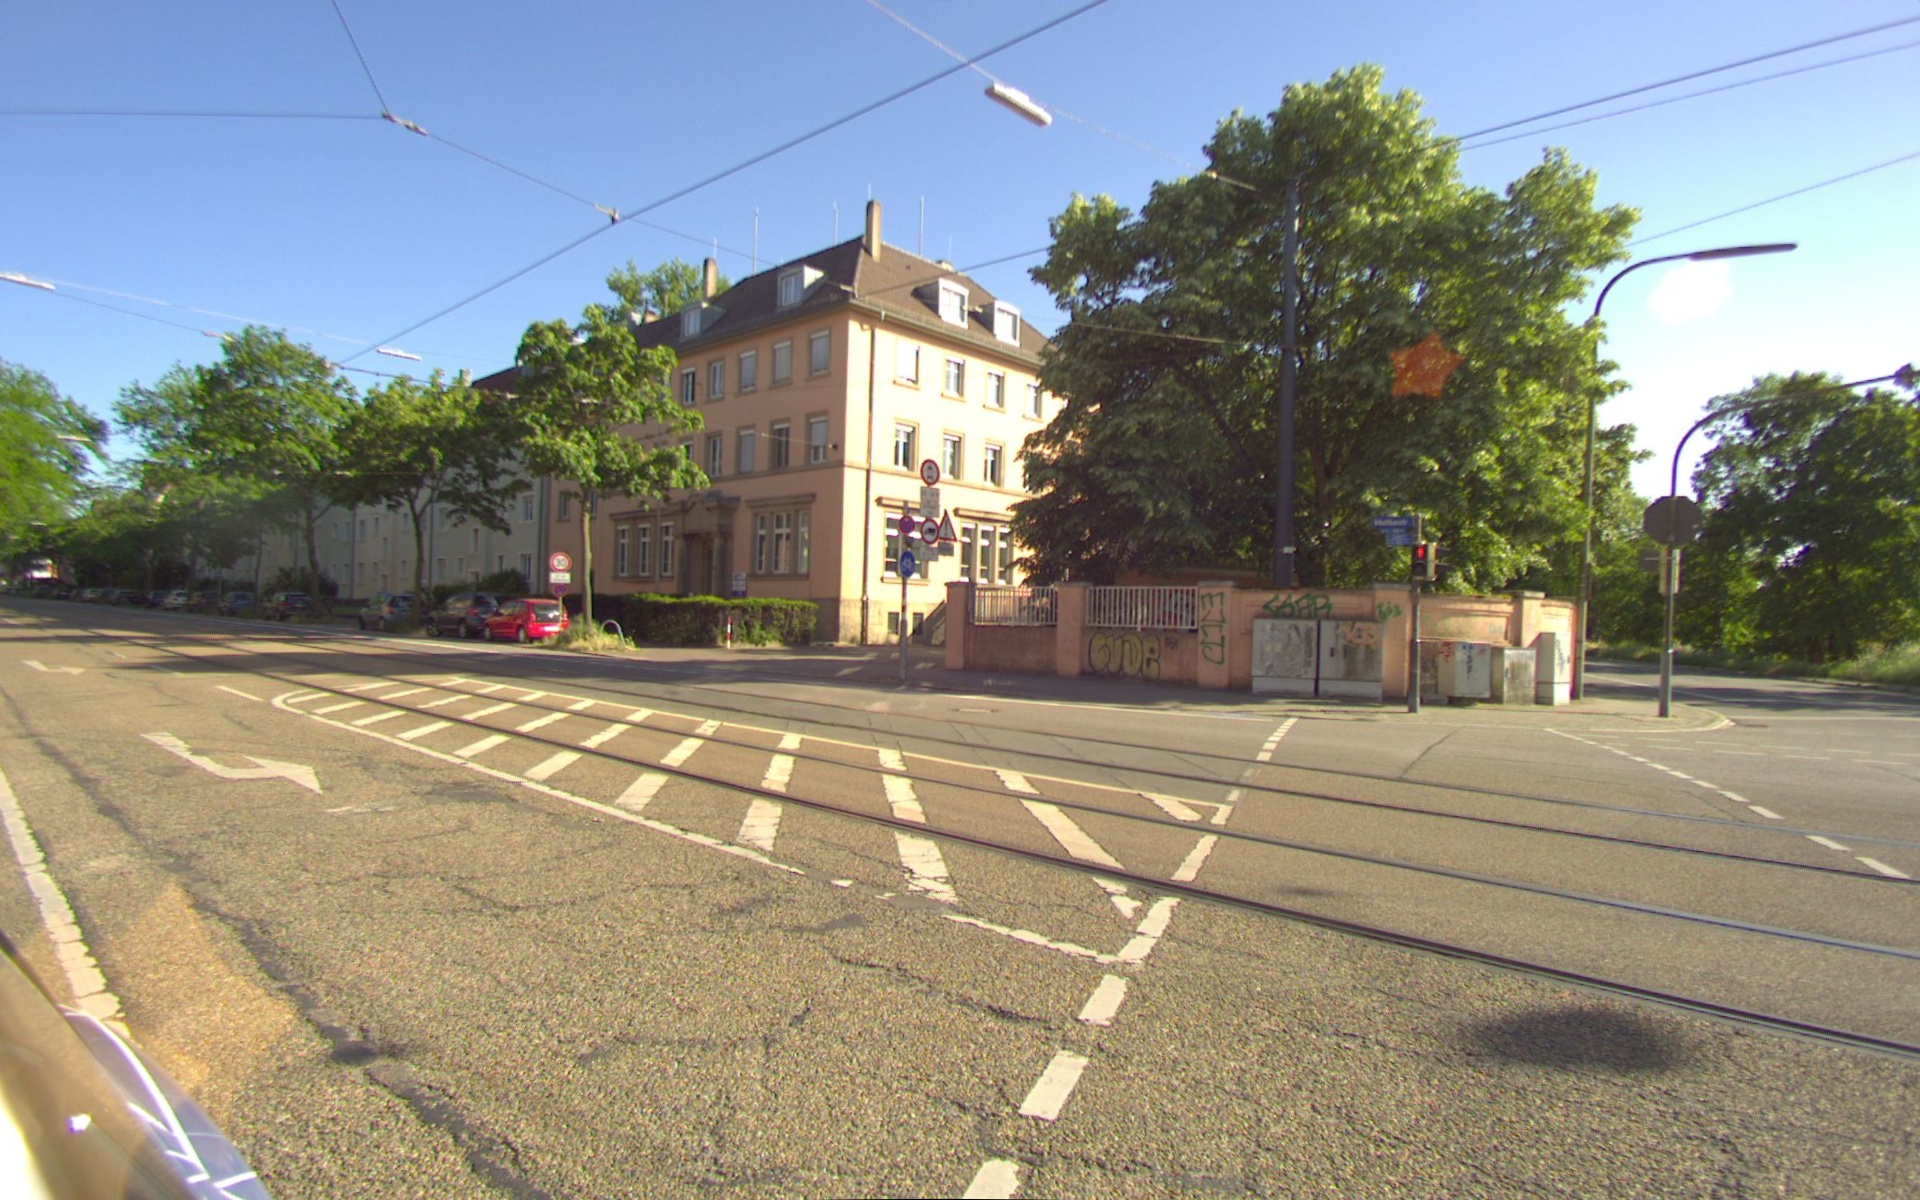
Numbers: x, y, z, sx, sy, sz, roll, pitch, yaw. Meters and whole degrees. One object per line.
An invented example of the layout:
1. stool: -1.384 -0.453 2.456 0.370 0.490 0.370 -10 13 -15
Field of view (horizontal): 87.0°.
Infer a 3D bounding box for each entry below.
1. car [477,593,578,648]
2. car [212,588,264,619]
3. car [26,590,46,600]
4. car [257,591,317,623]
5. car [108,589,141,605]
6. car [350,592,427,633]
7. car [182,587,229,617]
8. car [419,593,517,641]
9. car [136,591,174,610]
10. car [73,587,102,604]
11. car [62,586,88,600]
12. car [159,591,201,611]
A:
1. car: -14.687 0.681 34.336 3.372 1.719 1.793 1 -1 40
2. car: -44.874 0.210 62.915 3.794 1.839 1.792 1 -1 42
3. car: -134.933 -0.749 147.820 3.629 1.430 1.792 1 -1 42
4. car: -36.335 0.370 54.631 3.629 1.611 1.792 1 -1 42
5. car: -77.070 -0.288 93.318 3.629 1.430 1.792 1 -1 42
6. car: -24.546 0.523 43.453 3.878 1.671 1.791 1 -1 44
7. car: -51.531 0.108 69.086 3.629 1.955 1.792 1 -1 42
8. car: -18.191 0.607 37.349 3.817 1.671 1.793 1 -1 40
9. car: -64.884 0.018 81.580 3.629 1.430 1.792 1 -1 42
10. car: -94.231 -0.508 109.290 3.629 1.792 1.792 1 -1 42
11. car: -102.669 -0.793 117.338 3.629 1.534 1.792 1 -1 42
12. car: -58.260 0.087 75.595 3.629 1.430 1.792 1 -1 42
